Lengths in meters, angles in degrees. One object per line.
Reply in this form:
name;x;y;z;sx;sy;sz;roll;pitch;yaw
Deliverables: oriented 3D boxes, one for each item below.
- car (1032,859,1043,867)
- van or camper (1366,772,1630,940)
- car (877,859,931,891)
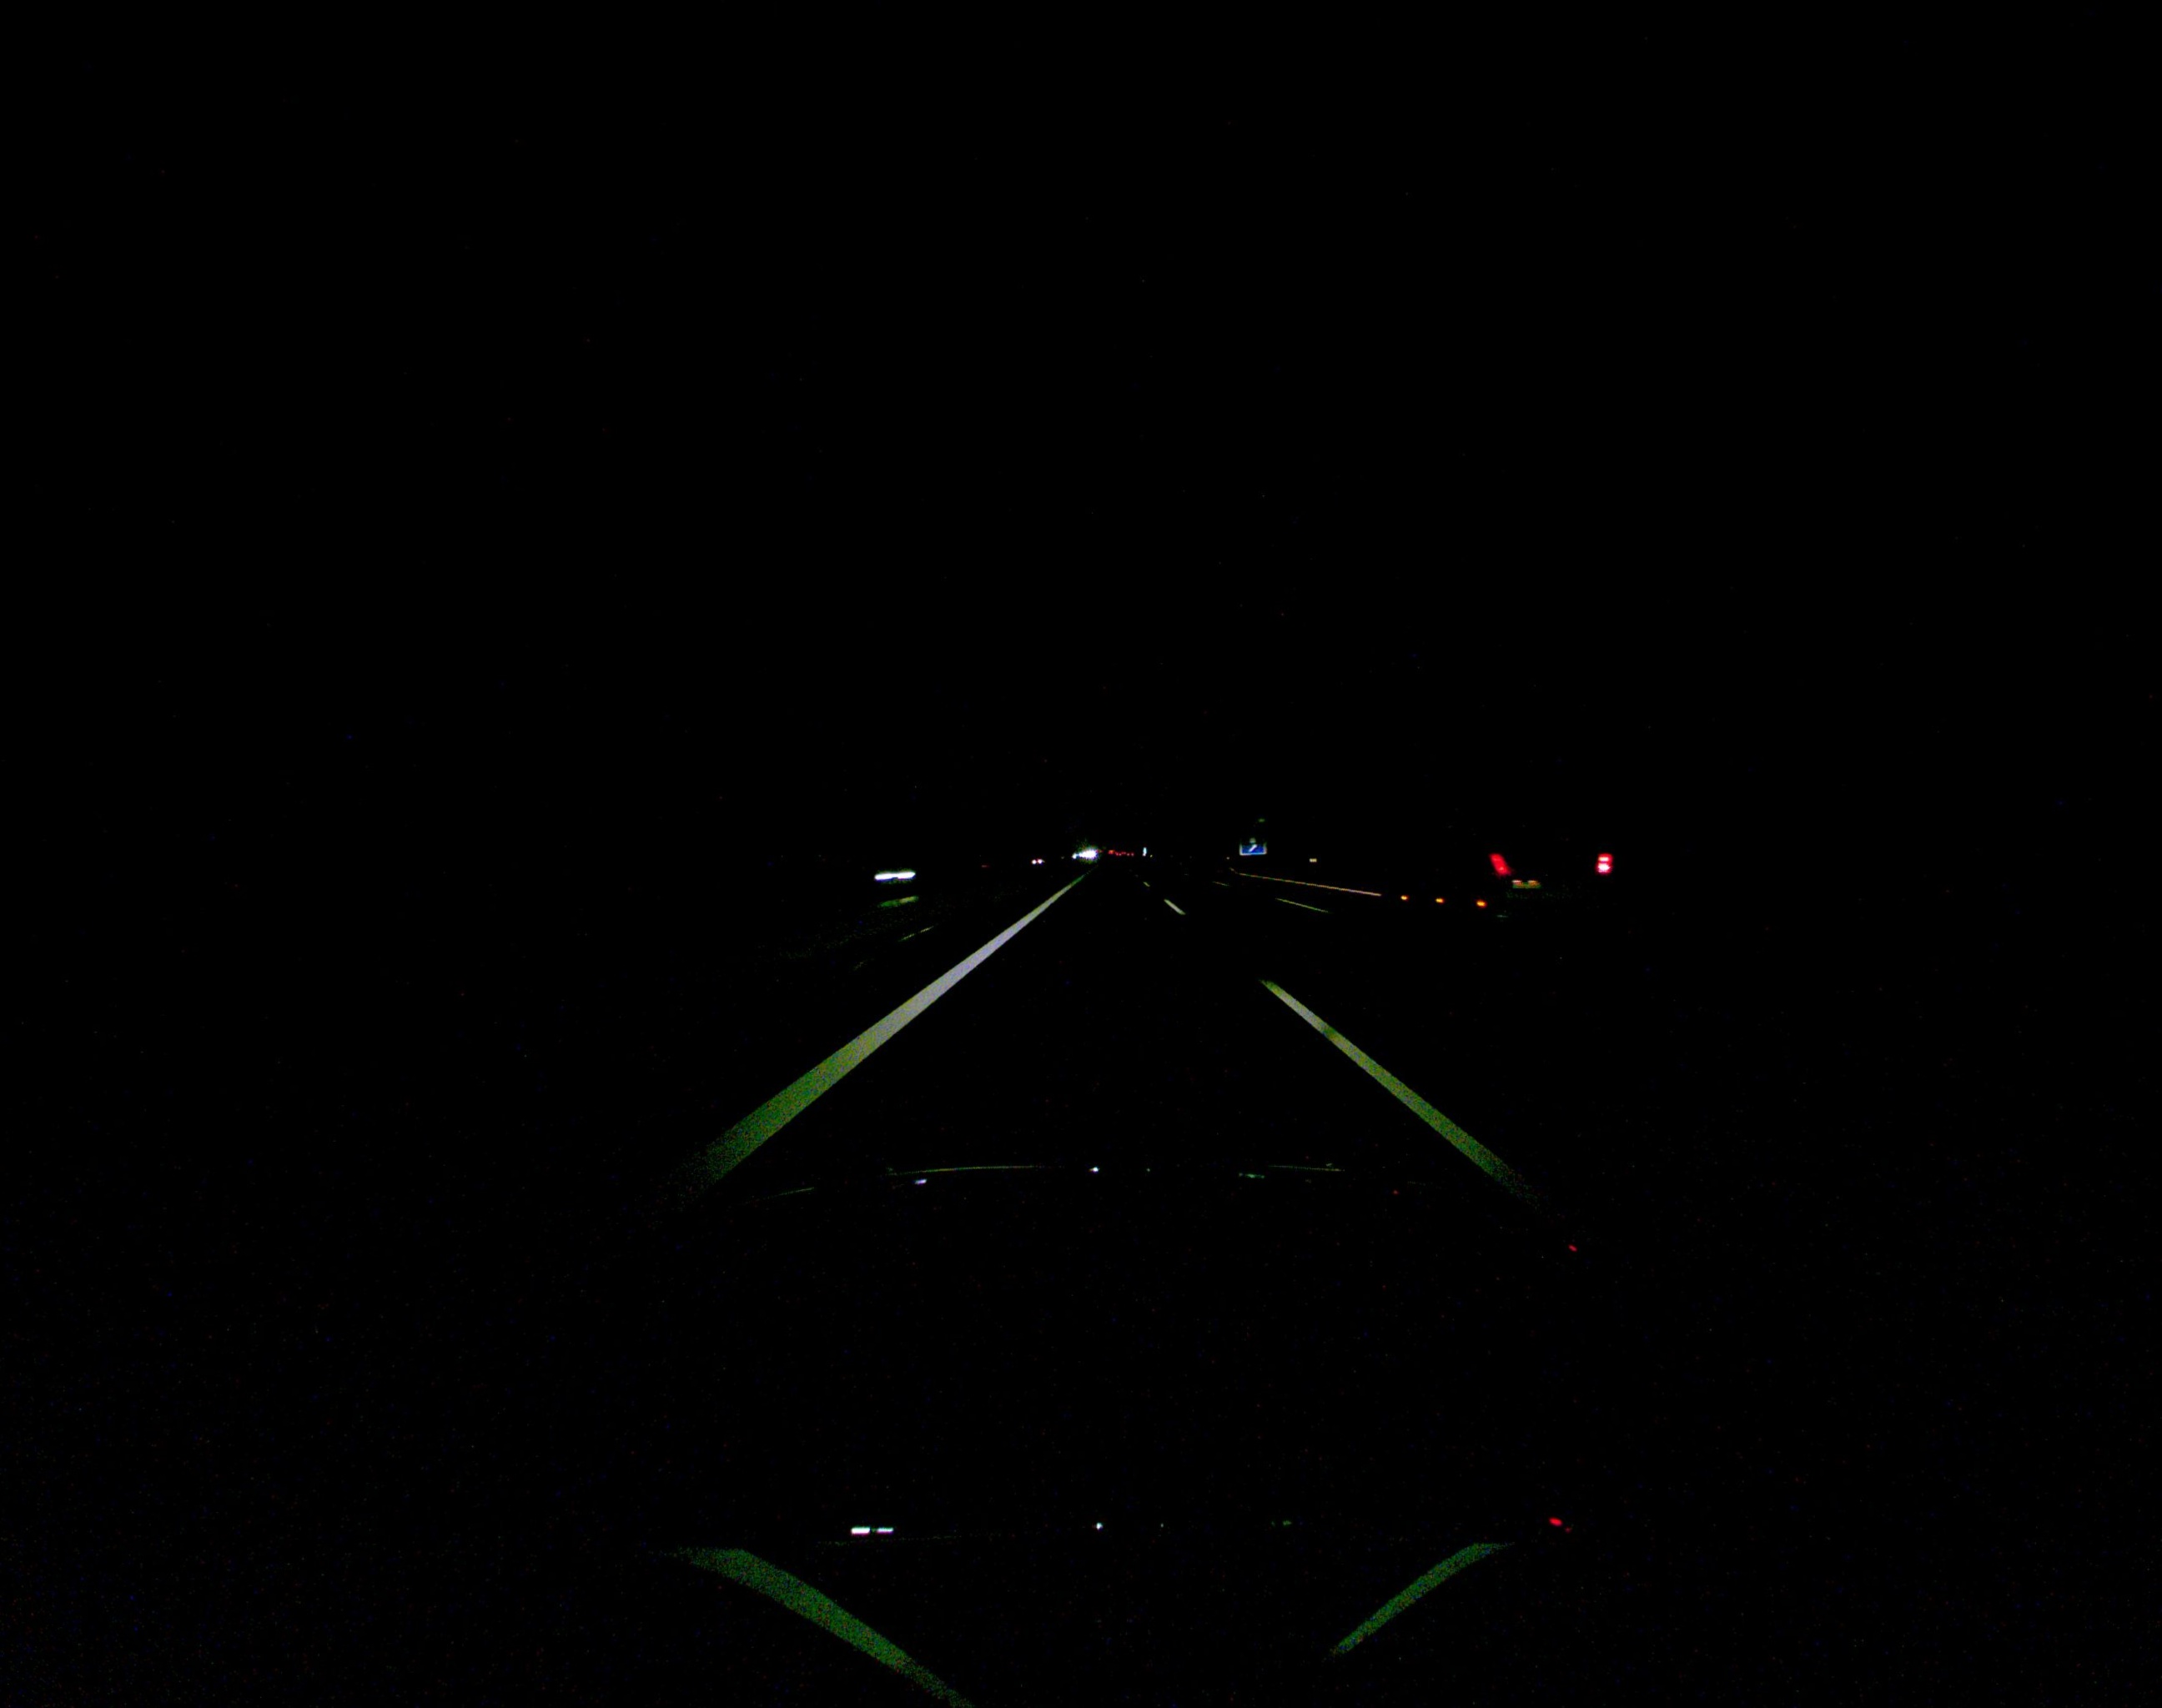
car;-9.905;2.112;186.644;1.986;1.551;5.006;-5;0;2
van or camper;8.130;0.023;16.967;2.198;2.771;6.807;-1;0;2
car;-11.161;1.297;51.736;1.986;1.638;5.077;-5;1;2
